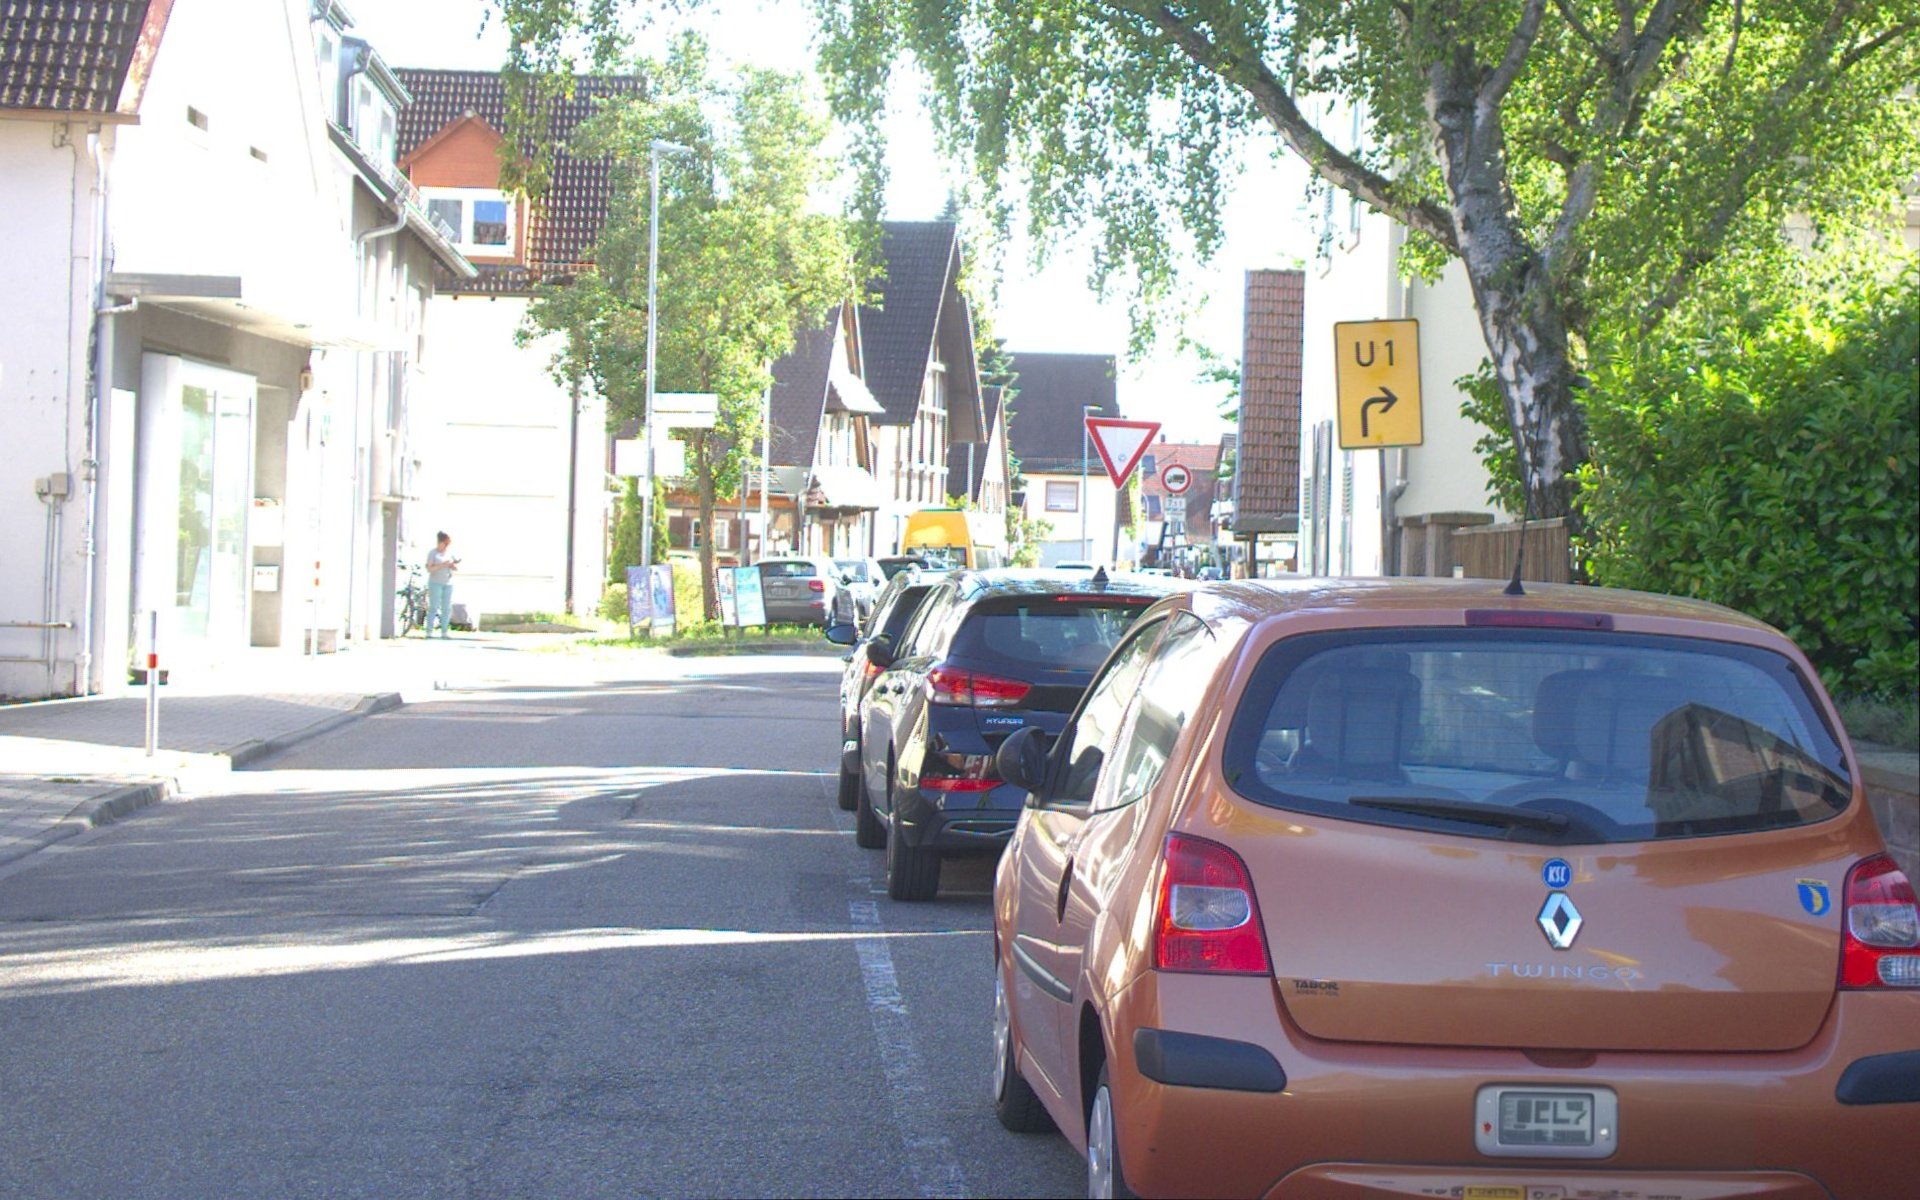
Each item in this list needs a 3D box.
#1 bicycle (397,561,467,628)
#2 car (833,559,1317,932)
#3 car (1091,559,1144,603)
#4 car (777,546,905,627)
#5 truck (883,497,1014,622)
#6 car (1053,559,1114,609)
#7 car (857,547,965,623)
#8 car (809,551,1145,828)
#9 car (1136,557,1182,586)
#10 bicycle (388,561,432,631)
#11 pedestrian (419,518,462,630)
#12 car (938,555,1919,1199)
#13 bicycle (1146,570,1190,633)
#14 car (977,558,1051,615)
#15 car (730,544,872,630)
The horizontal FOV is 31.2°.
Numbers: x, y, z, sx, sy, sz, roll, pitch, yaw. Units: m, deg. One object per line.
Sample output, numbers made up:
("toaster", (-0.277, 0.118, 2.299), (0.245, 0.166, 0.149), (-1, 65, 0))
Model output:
("bicycle", (-8.536, -0.076, 55.651), (0.578, 1.049, 2.035), (1, 0, 6))
("car", (0.402, 0.582, 16.374), (1.807, 1.431, 4.286), (2, 1, -4))
("car", (5.371, -0.652, 116.703), (1.588, 1.438, 3.614), (2, 1, 5))
("car", (-2.332, -0.264, 68.563), (1.807, 1.500, 4.106), (2, 0, 8))
("truck", (-0.226, -0.946, 82.860), (2.269, 2.859, 5.780), (2, 0, 8))
("car", (3.785, -0.505, 104.890), (1.588, 1.438, 3.614), (2, 1, 5))
("car", (-1.081, -0.340, 77.407), (1.807, 1.616, 3.879), (2, 0, 8))
("car", (0.081, 0.464, 21.095), (1.807, 1.431, 4.286), (2, 1, 0))
("car", (11.397, -1.629, 197.343), (1.973, 1.577, 3.996), (2, 1, -6))
("bicycle", (-8.348, -0.058, 52.236), (0.423, 1.049, 1.381), (1, 0, 0))
("pedestrian", (-7.919, -0.394, 52.396), (0.483, 1.687, 0.557), (2, -1, 3))
("car", (0.927, 0.686, 7.929), (1.648, 1.473, 3.934), (2, 1, -4))
("bicycle", (3.958, 0.029, 65.282), (0.433, 1.172, 1.827), (2, 1, 16))
("car", (1.461, -0.364, 91.797), (1.645, 1.428, 3.614), (2, 1, 5))
("car", (-2.938, -0.231, 64.214), (1.868, 1.500, 4.106), (2, 0, 8))
